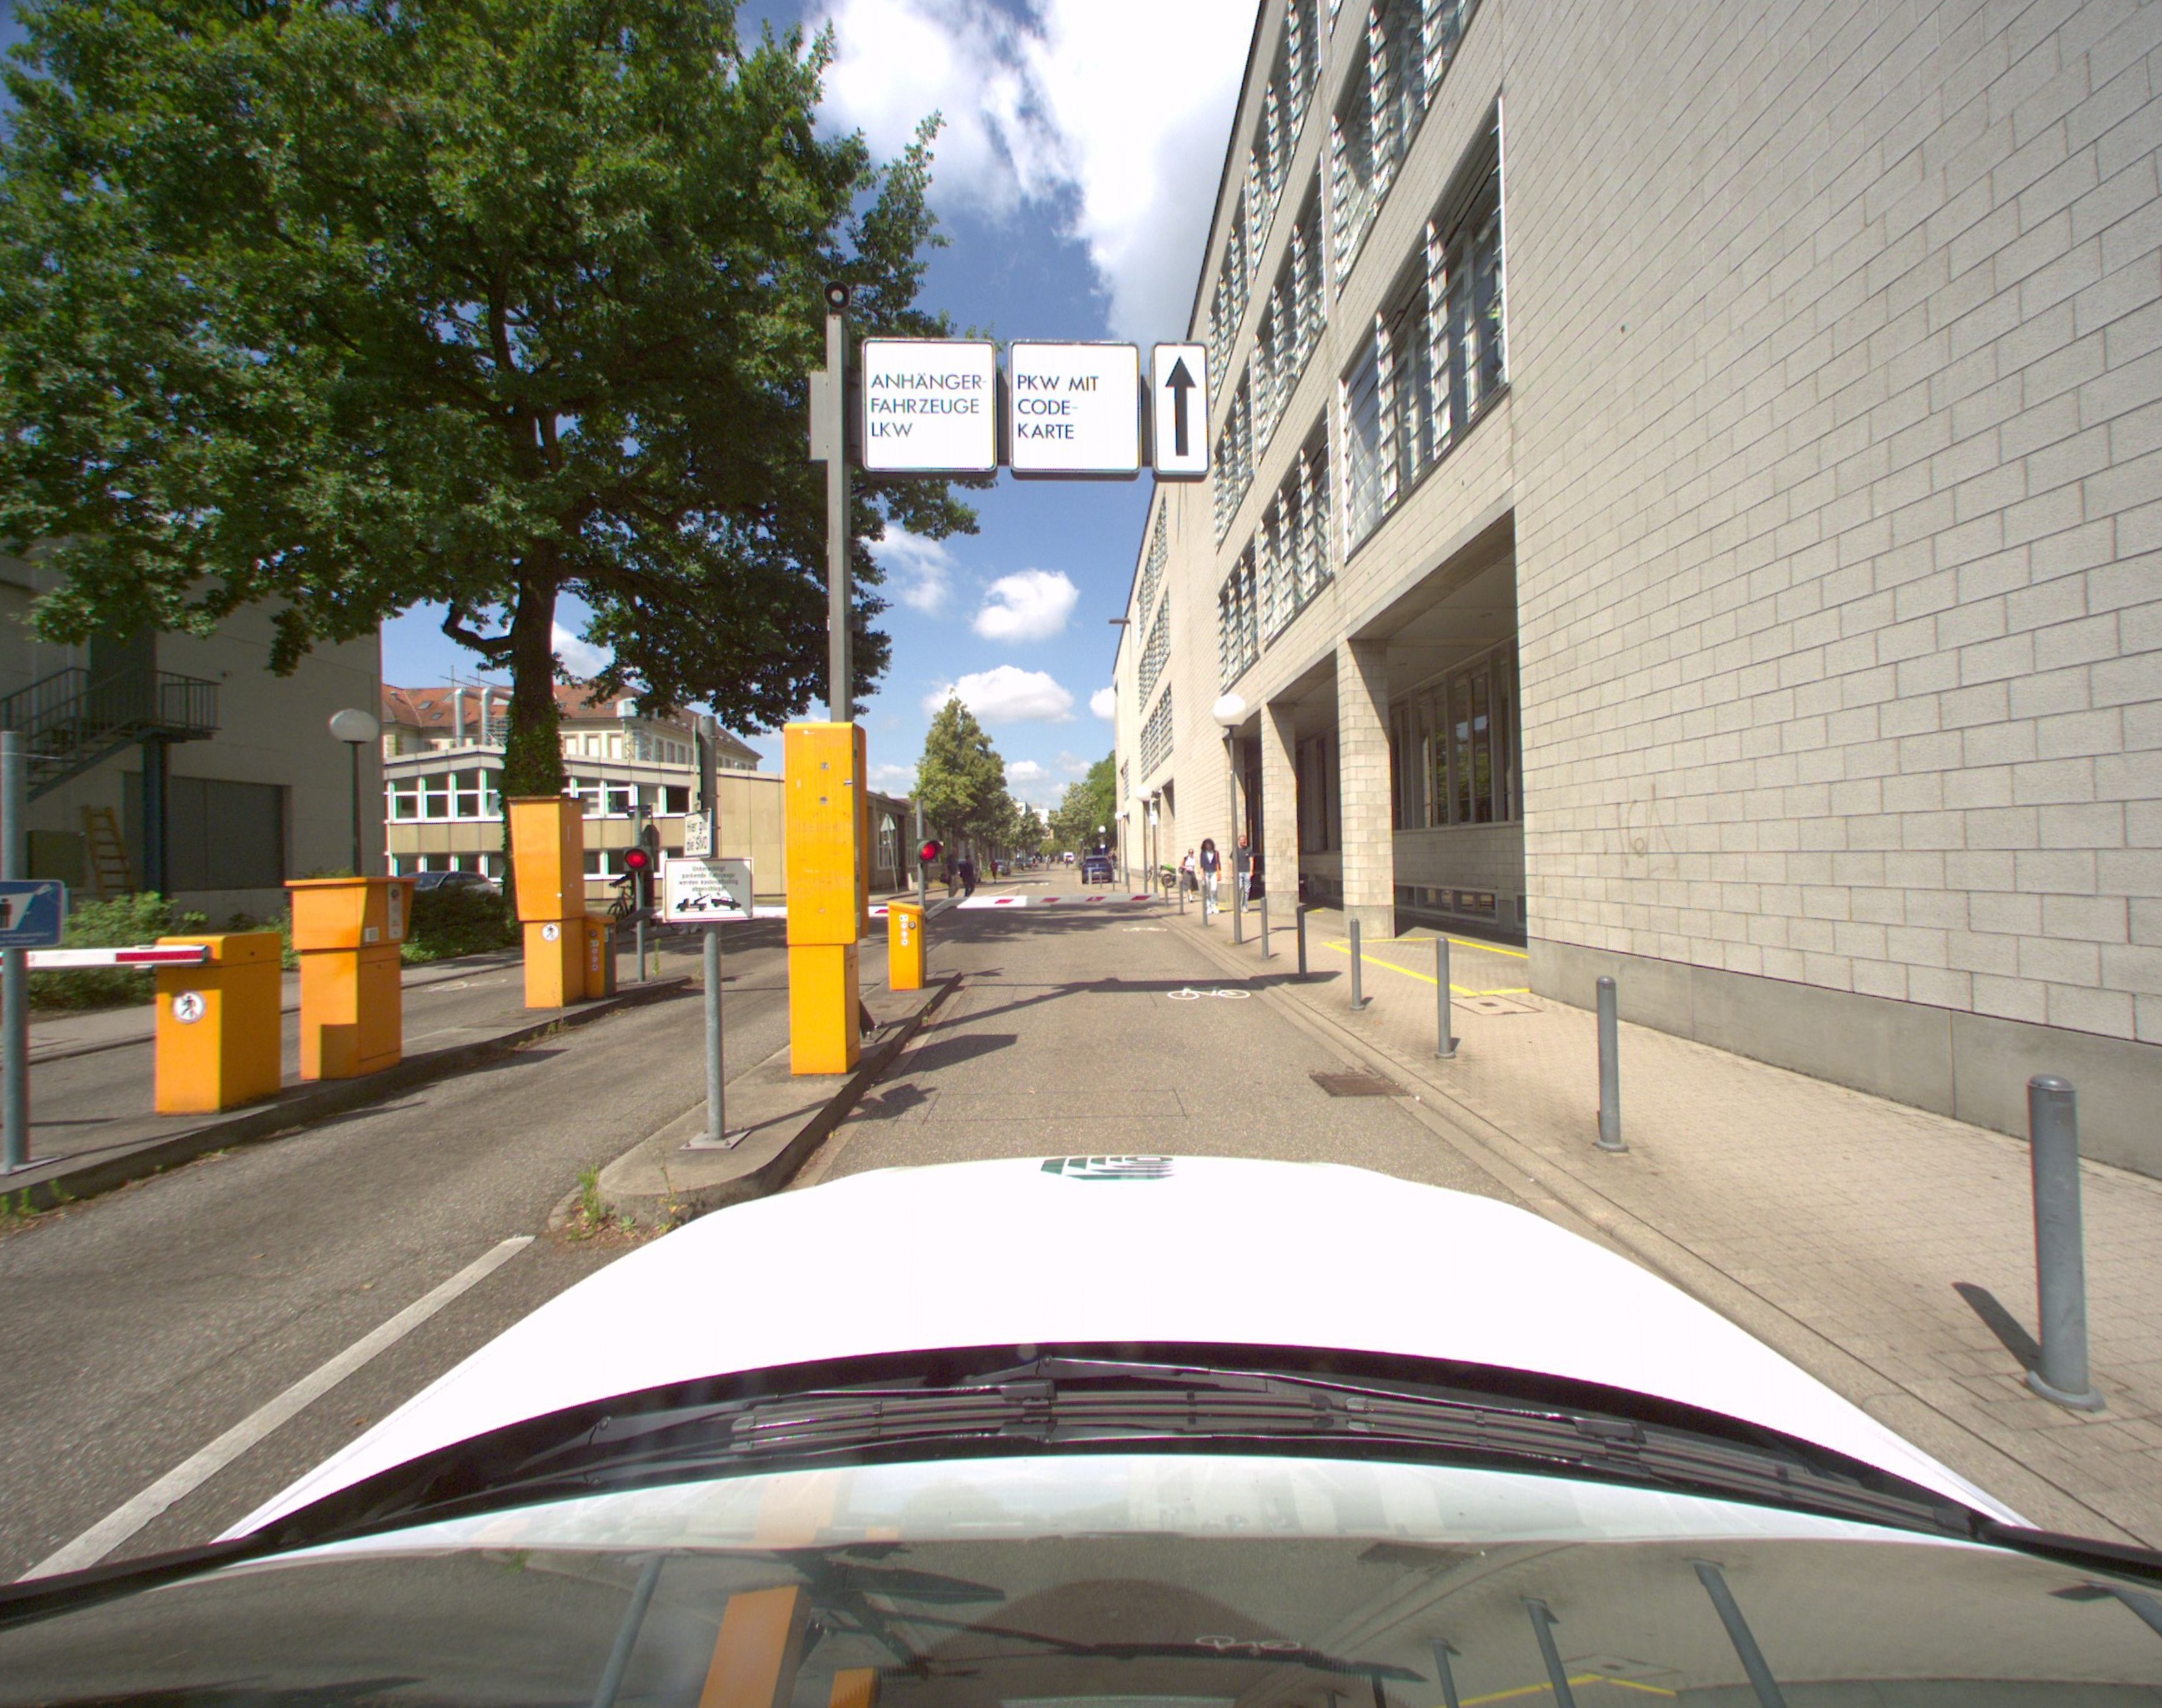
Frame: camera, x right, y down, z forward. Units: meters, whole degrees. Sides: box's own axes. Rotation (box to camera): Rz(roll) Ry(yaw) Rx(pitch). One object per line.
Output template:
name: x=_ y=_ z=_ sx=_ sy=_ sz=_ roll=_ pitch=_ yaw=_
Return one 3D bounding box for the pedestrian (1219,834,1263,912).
pedestrian: x=3.830 y=0.448 z=19.590 sx=0.765 sy=1.780 sz=0.910 roll=-3 pitch=0 yaw=-3

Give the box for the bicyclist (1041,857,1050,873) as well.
bicyclist: x=-4.152 y=1.275 z=96.207 sx=0.984 sy=1.884 sz=1.036 roll=-2 pitch=-2 yaw=-1

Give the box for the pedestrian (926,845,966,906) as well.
pedestrian: x=-4.395 y=0.691 z=26.440 sx=1.009 sy=1.925 sz=0.878 roll=0 pitch=-1 yaw=-32

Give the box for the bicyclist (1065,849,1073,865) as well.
bicyclist: x=-1.674 y=0.397 z=110.013 sx=0.984 sy=2.132 sz=1.035 roll=-2 pitch=-2 yaw=-2

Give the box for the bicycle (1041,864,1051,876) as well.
bicycle: x=-4.146 y=1.884 z=96.517 sx=0.984 sy=1.316 sz=2.962 roll=-2 pitch=-2 yaw=-1

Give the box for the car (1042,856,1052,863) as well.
car: x=-8.732 y=1.368 z=209.307 sx=1.986 sy=1.720 sz=4.001 roll=-2 pitch=-2 yaw=2

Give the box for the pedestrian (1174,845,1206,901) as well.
pedestrian: x=3.324 y=0.569 z=24.847 sx=0.739 sy=1.632 sz=0.887 roll=-3 pitch=0 yaw=-3

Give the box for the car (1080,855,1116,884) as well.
car: x=0.936 y=0.882 z=47.733 sx=1.987 sy=1.545 sz=4.210 roll=-1 pitch=0 yaw=0

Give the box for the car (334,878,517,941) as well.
car: x=-18.603 y=1.504 z=23.419 sx=1.824 sy=1.467 sz=4.296 roll=-1 pitch=0 yaw=-2

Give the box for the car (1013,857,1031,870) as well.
car: x=-7.614 y=1.232 z=104.856 sx=1.987 sy=1.545 sz=4.210 roll=-1 pitch=0 yaw=0

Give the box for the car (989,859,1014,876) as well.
car: x=-7.462 y=1.266 z=76.726 sx=1.987 sy=1.545 sz=4.210 roll=-1 pitch=0 yaw=0

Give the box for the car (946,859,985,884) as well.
car: x=-7.734 y=1.170 z=54.772 sx=1.987 sy=1.545 sz=4.210 roll=-1 pitch=0 yaw=0

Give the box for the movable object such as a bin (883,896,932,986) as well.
movable object such as a bin: x=-1.837 y=0.914 z=8.639 sx=0.414 sy=0.905 sz=0.353 roll=-1 pitch=0 yaw=3

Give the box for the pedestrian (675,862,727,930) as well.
pedestrian: x=-9.212 y=0.997 z=19.758 sx=0.852 sy=1.586 sz=0.805 roll=-2 pitch=0 yaw=-2

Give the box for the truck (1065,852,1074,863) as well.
truck: x=-2.582 y=0.843 z=182.863 sx=1.989 sy=2.271 sz=4.611 roll=-2 pitch=-2 yaw=-2

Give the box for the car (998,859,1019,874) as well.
car: x=-8.251 y=1.373 z=92.446 sx=1.987 sy=1.545 sz=4.210 roll=-1 pitch=0 yaw=0

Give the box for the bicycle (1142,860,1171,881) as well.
bicycle: x=4.135 y=0.889 z=44.753 sx=1.536 sy=1.066 sz=0.649 roll=-2 pitch=0 yaw=6

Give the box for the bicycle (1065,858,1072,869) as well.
bicycle: x=-1.697 y=1.281 z=109.520 sx=0.984 sy=1.316 sz=2.962 roll=-2 pitch=-2 yaw=-1

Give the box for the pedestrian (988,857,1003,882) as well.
pedestrian: x=-5.786 y=1.054 z=54.981 sx=0.891 sy=1.632 sz=0.887 roll=-1 pitch=-1 yaw=-2

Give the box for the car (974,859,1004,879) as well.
car: x=-7.640 y=1.226 z=67.932 sx=1.987 sy=1.545 sz=4.210 roll=-1 pitch=0 yaw=0

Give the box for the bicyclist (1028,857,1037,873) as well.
bicyclist: x=-5.717 y=1.322 z=96.593 sx=0.985 sy=1.884 sz=1.035 roll=-2 pitch=-2 yaw=-4

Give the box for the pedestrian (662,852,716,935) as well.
pedestrian: x=-8.815 y=0.867 z=18.356 sx=0.703 sy=1.809 sz=1.001 roll=-2 pitch=0 yaw=-2

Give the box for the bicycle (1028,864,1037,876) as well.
bicycle: x=-5.728 y=1.946 z=96.557 sx=0.984 sy=1.316 sz=2.961 roll=-2 pitch=-2 yaw=-2

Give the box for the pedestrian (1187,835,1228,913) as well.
pedestrian: x=3.040 y=0.464 z=19.670 sx=0.693 sy=1.780 sz=1.084 roll=-3 pitch=0 yaw=-2

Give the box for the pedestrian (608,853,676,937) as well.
pedestrian: x=-9.939 y=0.906 z=18.467 sx=1.053 sy=1.816 sz=0.805 roll=-2 pitch=0 yaw=-2

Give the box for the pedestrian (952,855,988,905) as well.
pedestrian: x=-3.726 y=0.848 z=27.302 sx=0.900 sy=1.632 sz=0.878 roll=0 pitch=-1 yaw=-32

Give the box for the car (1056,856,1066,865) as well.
car: x=-4.275 y=1.464 z=173.177 sx=1.986 sy=1.720 sz=4.001 roll=-2 pitch=-2 yaw=2

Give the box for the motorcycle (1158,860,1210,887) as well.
motorcycle: x=4.412 y=0.854 z=35.111 sx=2.116 sy=1.023 sz=0.660 roll=-3 pitch=-2 yaw=0

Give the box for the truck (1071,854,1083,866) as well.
truck: x=-0.735 y=1.115 z=152.595 sx=1.989 sy=2.014 sz=3.996 roll=-2 pitch=-2 yaw=-2

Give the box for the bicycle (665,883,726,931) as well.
bicycle: x=-9.645 y=1.295 z=20.445 sx=0.643 sy=1.049 sz=1.899 roll=-2 pitch=0 yaw=-2
